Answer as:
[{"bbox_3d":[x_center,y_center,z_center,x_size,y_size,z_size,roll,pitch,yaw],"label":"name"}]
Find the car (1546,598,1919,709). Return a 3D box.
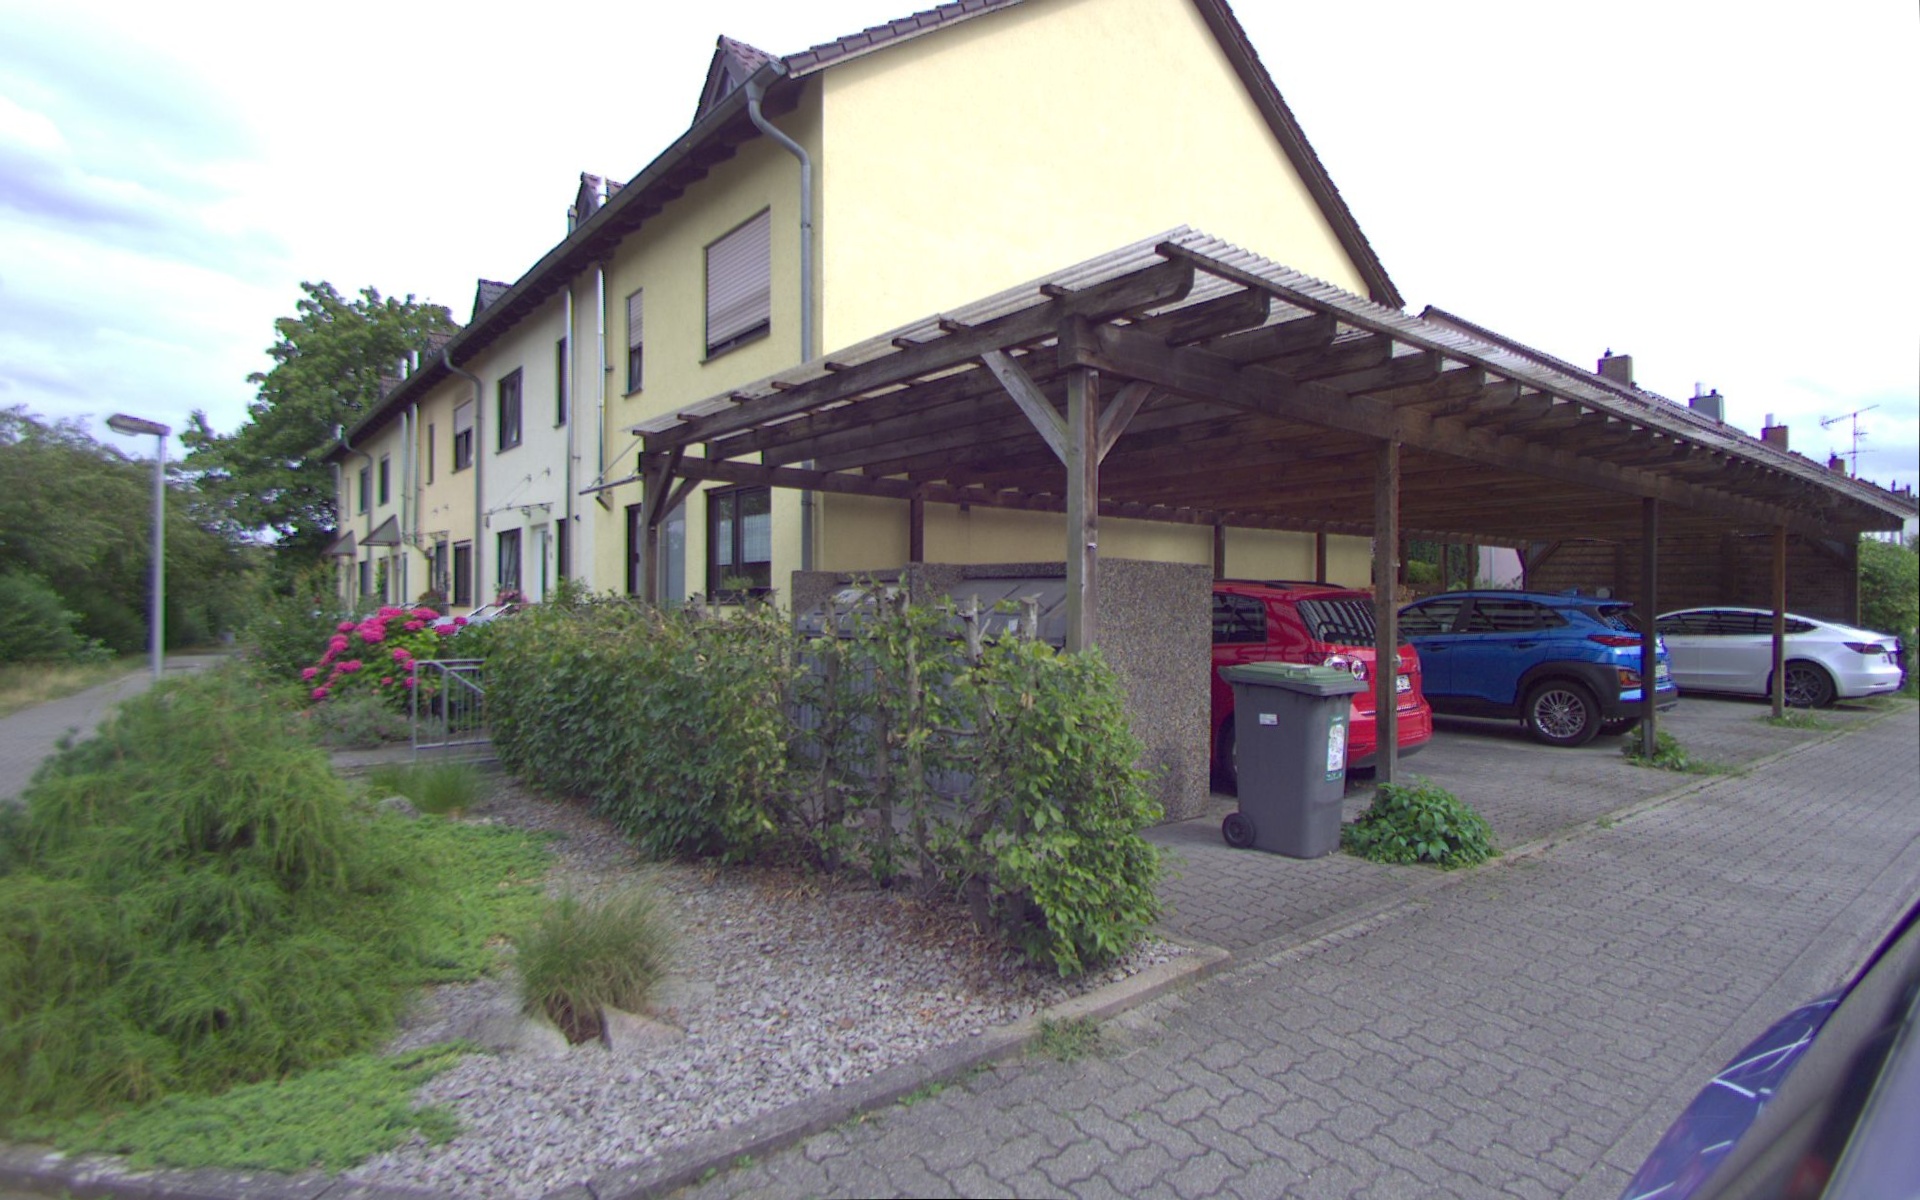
[{"bbox_3d":[11.960,0.712,15.828,1.992,1.451,4.457,0,0,-41],"label":"car"}]

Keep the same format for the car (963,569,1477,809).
[{"bbox_3d":[2.008,0.566,8.683,1.807,1.559,3.963,0,0,-41],"label":"car"}]

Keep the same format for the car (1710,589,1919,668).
[{"bbox_3d":[19.324,0.566,22.197,1.899,1.580,4.280,0,1,-38],"label":"car"}]

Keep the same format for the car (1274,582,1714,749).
[{"bbox_3d":[5.906,0.591,11.546,1.917,1.542,4.052,0,0,-42],"label":"car"}]

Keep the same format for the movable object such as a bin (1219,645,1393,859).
[{"bbox_3d":[2.009,0.830,5.880,0.699,1.086,0.700,0,0,-42],"label":"movable object such as a bin"}]
